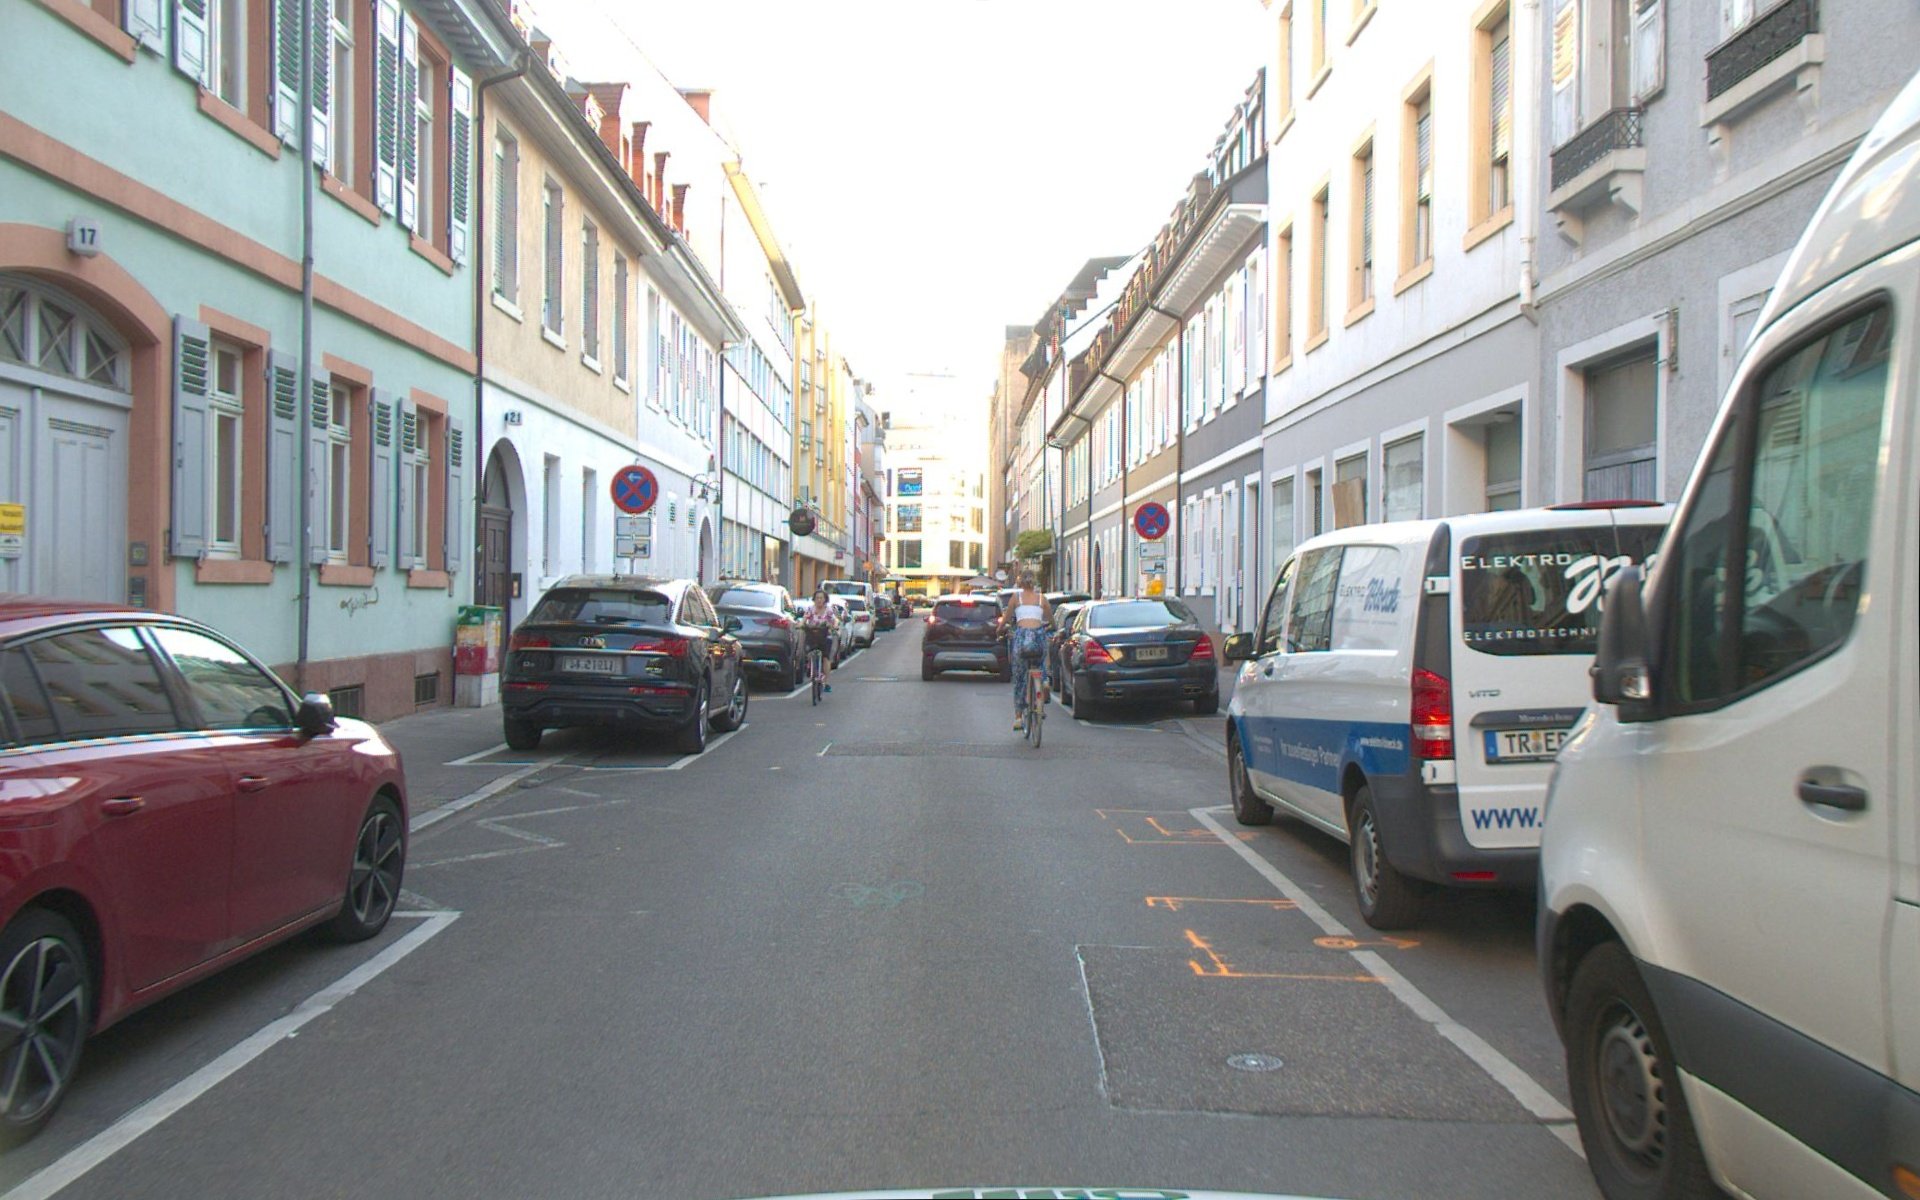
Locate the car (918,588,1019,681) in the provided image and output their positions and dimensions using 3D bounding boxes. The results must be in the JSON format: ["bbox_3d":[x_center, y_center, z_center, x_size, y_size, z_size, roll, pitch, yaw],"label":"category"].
[{"bbox_3d":[0.121,0.616,32.009,1.782,1.646,3.999,2,0,-1],"label":"car"}]

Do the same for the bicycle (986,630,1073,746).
[{"bbox_3d":[0.700,0.883,17.185,0.602,1.101,1.806,1,0,-7],"label":"bicycle"}]

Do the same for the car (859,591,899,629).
[{"bbox_3d":[-3.572,0.424,73.465,1.620,1.588,3.605,2,0,-1],"label":"car"}]

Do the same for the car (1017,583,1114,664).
[{"bbox_3d":[2.449,0.526,39.233,1.879,1.768,4.152,2,0,-2],"label":"car"}]

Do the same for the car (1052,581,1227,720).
[{"bbox_3d":[2.268,0.598,22.157,1.782,1.556,5.071,-3,0,1],"label":"car"}]

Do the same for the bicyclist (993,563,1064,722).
[{"bbox_3d":[0.702,0.430,17.106,0.609,1.602,0.682,1,0,-7],"label":"bicyclist"}]

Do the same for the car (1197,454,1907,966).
[{"bbox_3d":[2.742,0.435,9.243,1.902,1.927,5.316,-3,0,-1],"label":"car"}]

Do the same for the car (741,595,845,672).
[{"bbox_3d":[-3.417,0.658,34.590,1.879,1.459,4.291,2,0,-2],"label":"car"}]

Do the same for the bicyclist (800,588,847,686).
[{"bbox_3d":[-1.963,0.524,23.781,0.593,1.393,0.621,1,0,1],"label":"bicyclist"}]

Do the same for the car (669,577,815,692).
[{"bbox_3d":[-3.572,0.526,27.845,1.958,1.737,4.534,2,0,-2],"label":"car"}]

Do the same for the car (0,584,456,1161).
[{"bbox_3d":[-3.232,0.658,5.614,1.729,1.426,4.262,1,0,0],"label":"car"}]

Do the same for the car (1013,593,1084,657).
[{"bbox_3d":[2.312,0.627,43.983,1.620,1.588,3.605,2,0,-1],"label":"car"}]

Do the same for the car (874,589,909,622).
[{"bbox_3d":[-3.495,0.252,84.465,1.620,1.588,3.605,2,0,-1],"label":"car"}]

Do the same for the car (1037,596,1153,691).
[{"bbox_3d":[2.314,0.711,29.131,1.642,1.512,3.999,2,0,-1],"label":"car"}]

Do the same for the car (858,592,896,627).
[{"bbox_3d":[-3.929,0.432,78.764,1.620,1.588,3.605,2,0,-1],"label":"car"}]

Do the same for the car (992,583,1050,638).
[{"bbox_3d":[1.875,0.306,51.566,1.620,1.588,3.605,2,0,-1],"label":"car"}]

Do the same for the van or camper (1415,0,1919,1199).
[{"bbox_3d":[2.412,0.173,1.630,2.008,2.683,7.062,0,0,0],"label":"van or camper"}]

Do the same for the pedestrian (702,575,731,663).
[{"bbox_3d":[-5.746,0.447,39.065,0.598,2.049,0.450,1,0,-4],"label":"pedestrian"}]

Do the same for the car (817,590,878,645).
[{"bbox_3d":[-3.426,0.511,50.940,1.620,1.588,3.605,2,0,-1],"label":"car"}]

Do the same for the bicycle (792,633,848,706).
[{"bbox_3d":[-1.984,0.970,23.653,0.601,0.948,1.886,1,0,1],"label":"bicycle"}]

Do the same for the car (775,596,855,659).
[{"bbox_3d":[-3.539,0.643,40.868,1.620,1.435,3.902,2,0,-1],"label":"car"}]

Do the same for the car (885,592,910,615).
[{"bbox_3d":[-4.481,0.248,118.823,1.620,1.588,3.605,2,0,-1],"label":"car"}]

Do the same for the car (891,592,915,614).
[{"bbox_3d":[-4.316,0.243,125.596,1.620,1.588,3.605,2,0,-1],"label":"car"}]

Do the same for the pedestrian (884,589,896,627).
[{"bbox_3d":[-3.282,0.365,77.168,0.543,1.783,0.568,1,0,-4],"label":"pedestrian"}]

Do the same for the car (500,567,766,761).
[{"bbox_3d":[-3.154,0.554,16.850,1.765,1.706,4.490,0,0,1],"label":"car"}]

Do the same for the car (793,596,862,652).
[{"bbox_3d":[-3.655,0.633,45.956,1.620,1.435,3.605,2,0,-1],"label":"car"}]

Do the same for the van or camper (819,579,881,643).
[{"bbox_3d":[-3.723,0.360,56.624,1.807,2.048,4.677,2,0,-1],"label":"van or camper"}]
